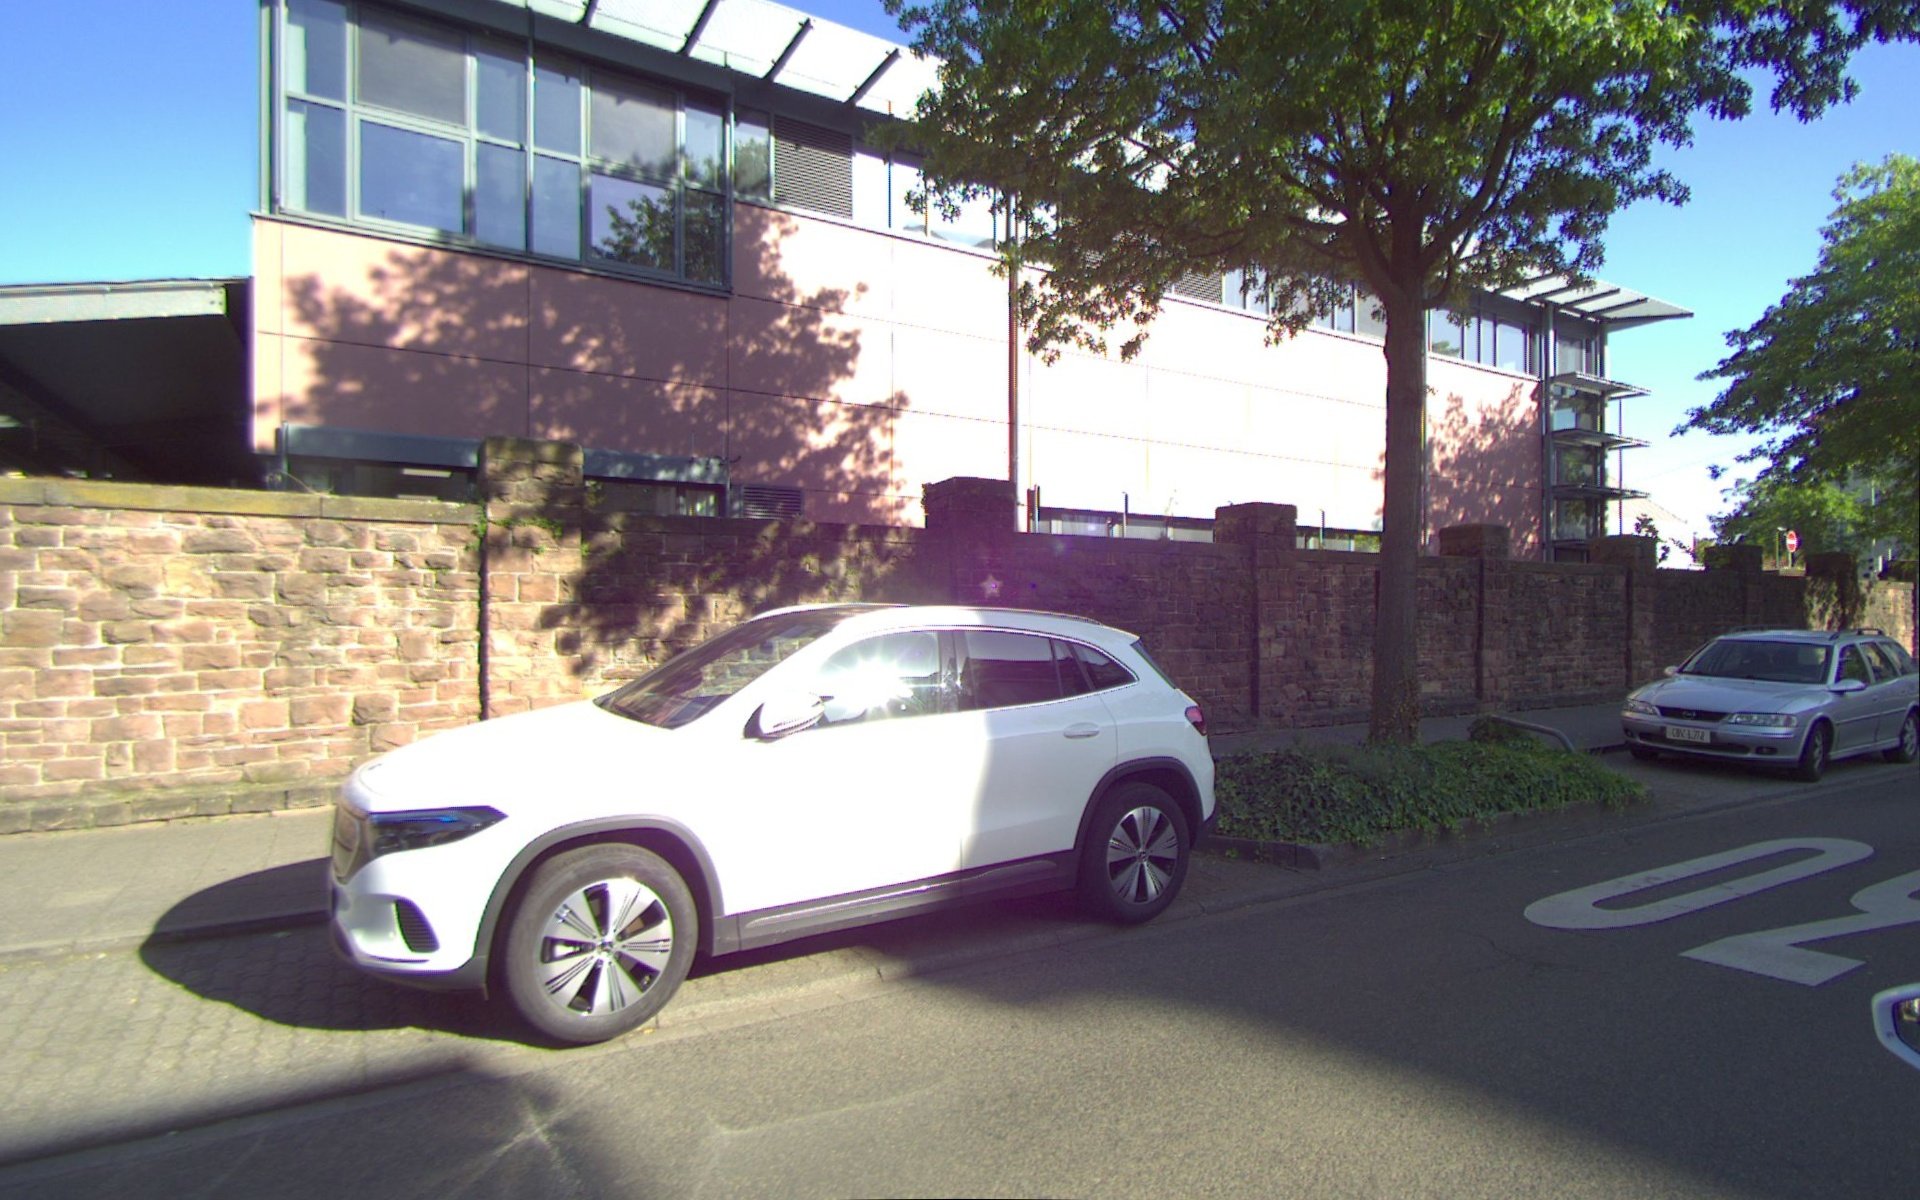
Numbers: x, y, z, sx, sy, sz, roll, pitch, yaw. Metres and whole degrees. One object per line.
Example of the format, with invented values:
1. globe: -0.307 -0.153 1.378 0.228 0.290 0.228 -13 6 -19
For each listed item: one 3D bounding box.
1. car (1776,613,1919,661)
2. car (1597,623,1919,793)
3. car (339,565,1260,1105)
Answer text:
1. car: 29.523 1.172 32.762 1.834 1.440 4.167 0 0 -34
2. car: 9.179 1.046 11.221 4.427 1.495 1.717 0 1 -32
3. car: -0.610 0.770 5.081 4.303 1.706 1.710 0 -1 -33
